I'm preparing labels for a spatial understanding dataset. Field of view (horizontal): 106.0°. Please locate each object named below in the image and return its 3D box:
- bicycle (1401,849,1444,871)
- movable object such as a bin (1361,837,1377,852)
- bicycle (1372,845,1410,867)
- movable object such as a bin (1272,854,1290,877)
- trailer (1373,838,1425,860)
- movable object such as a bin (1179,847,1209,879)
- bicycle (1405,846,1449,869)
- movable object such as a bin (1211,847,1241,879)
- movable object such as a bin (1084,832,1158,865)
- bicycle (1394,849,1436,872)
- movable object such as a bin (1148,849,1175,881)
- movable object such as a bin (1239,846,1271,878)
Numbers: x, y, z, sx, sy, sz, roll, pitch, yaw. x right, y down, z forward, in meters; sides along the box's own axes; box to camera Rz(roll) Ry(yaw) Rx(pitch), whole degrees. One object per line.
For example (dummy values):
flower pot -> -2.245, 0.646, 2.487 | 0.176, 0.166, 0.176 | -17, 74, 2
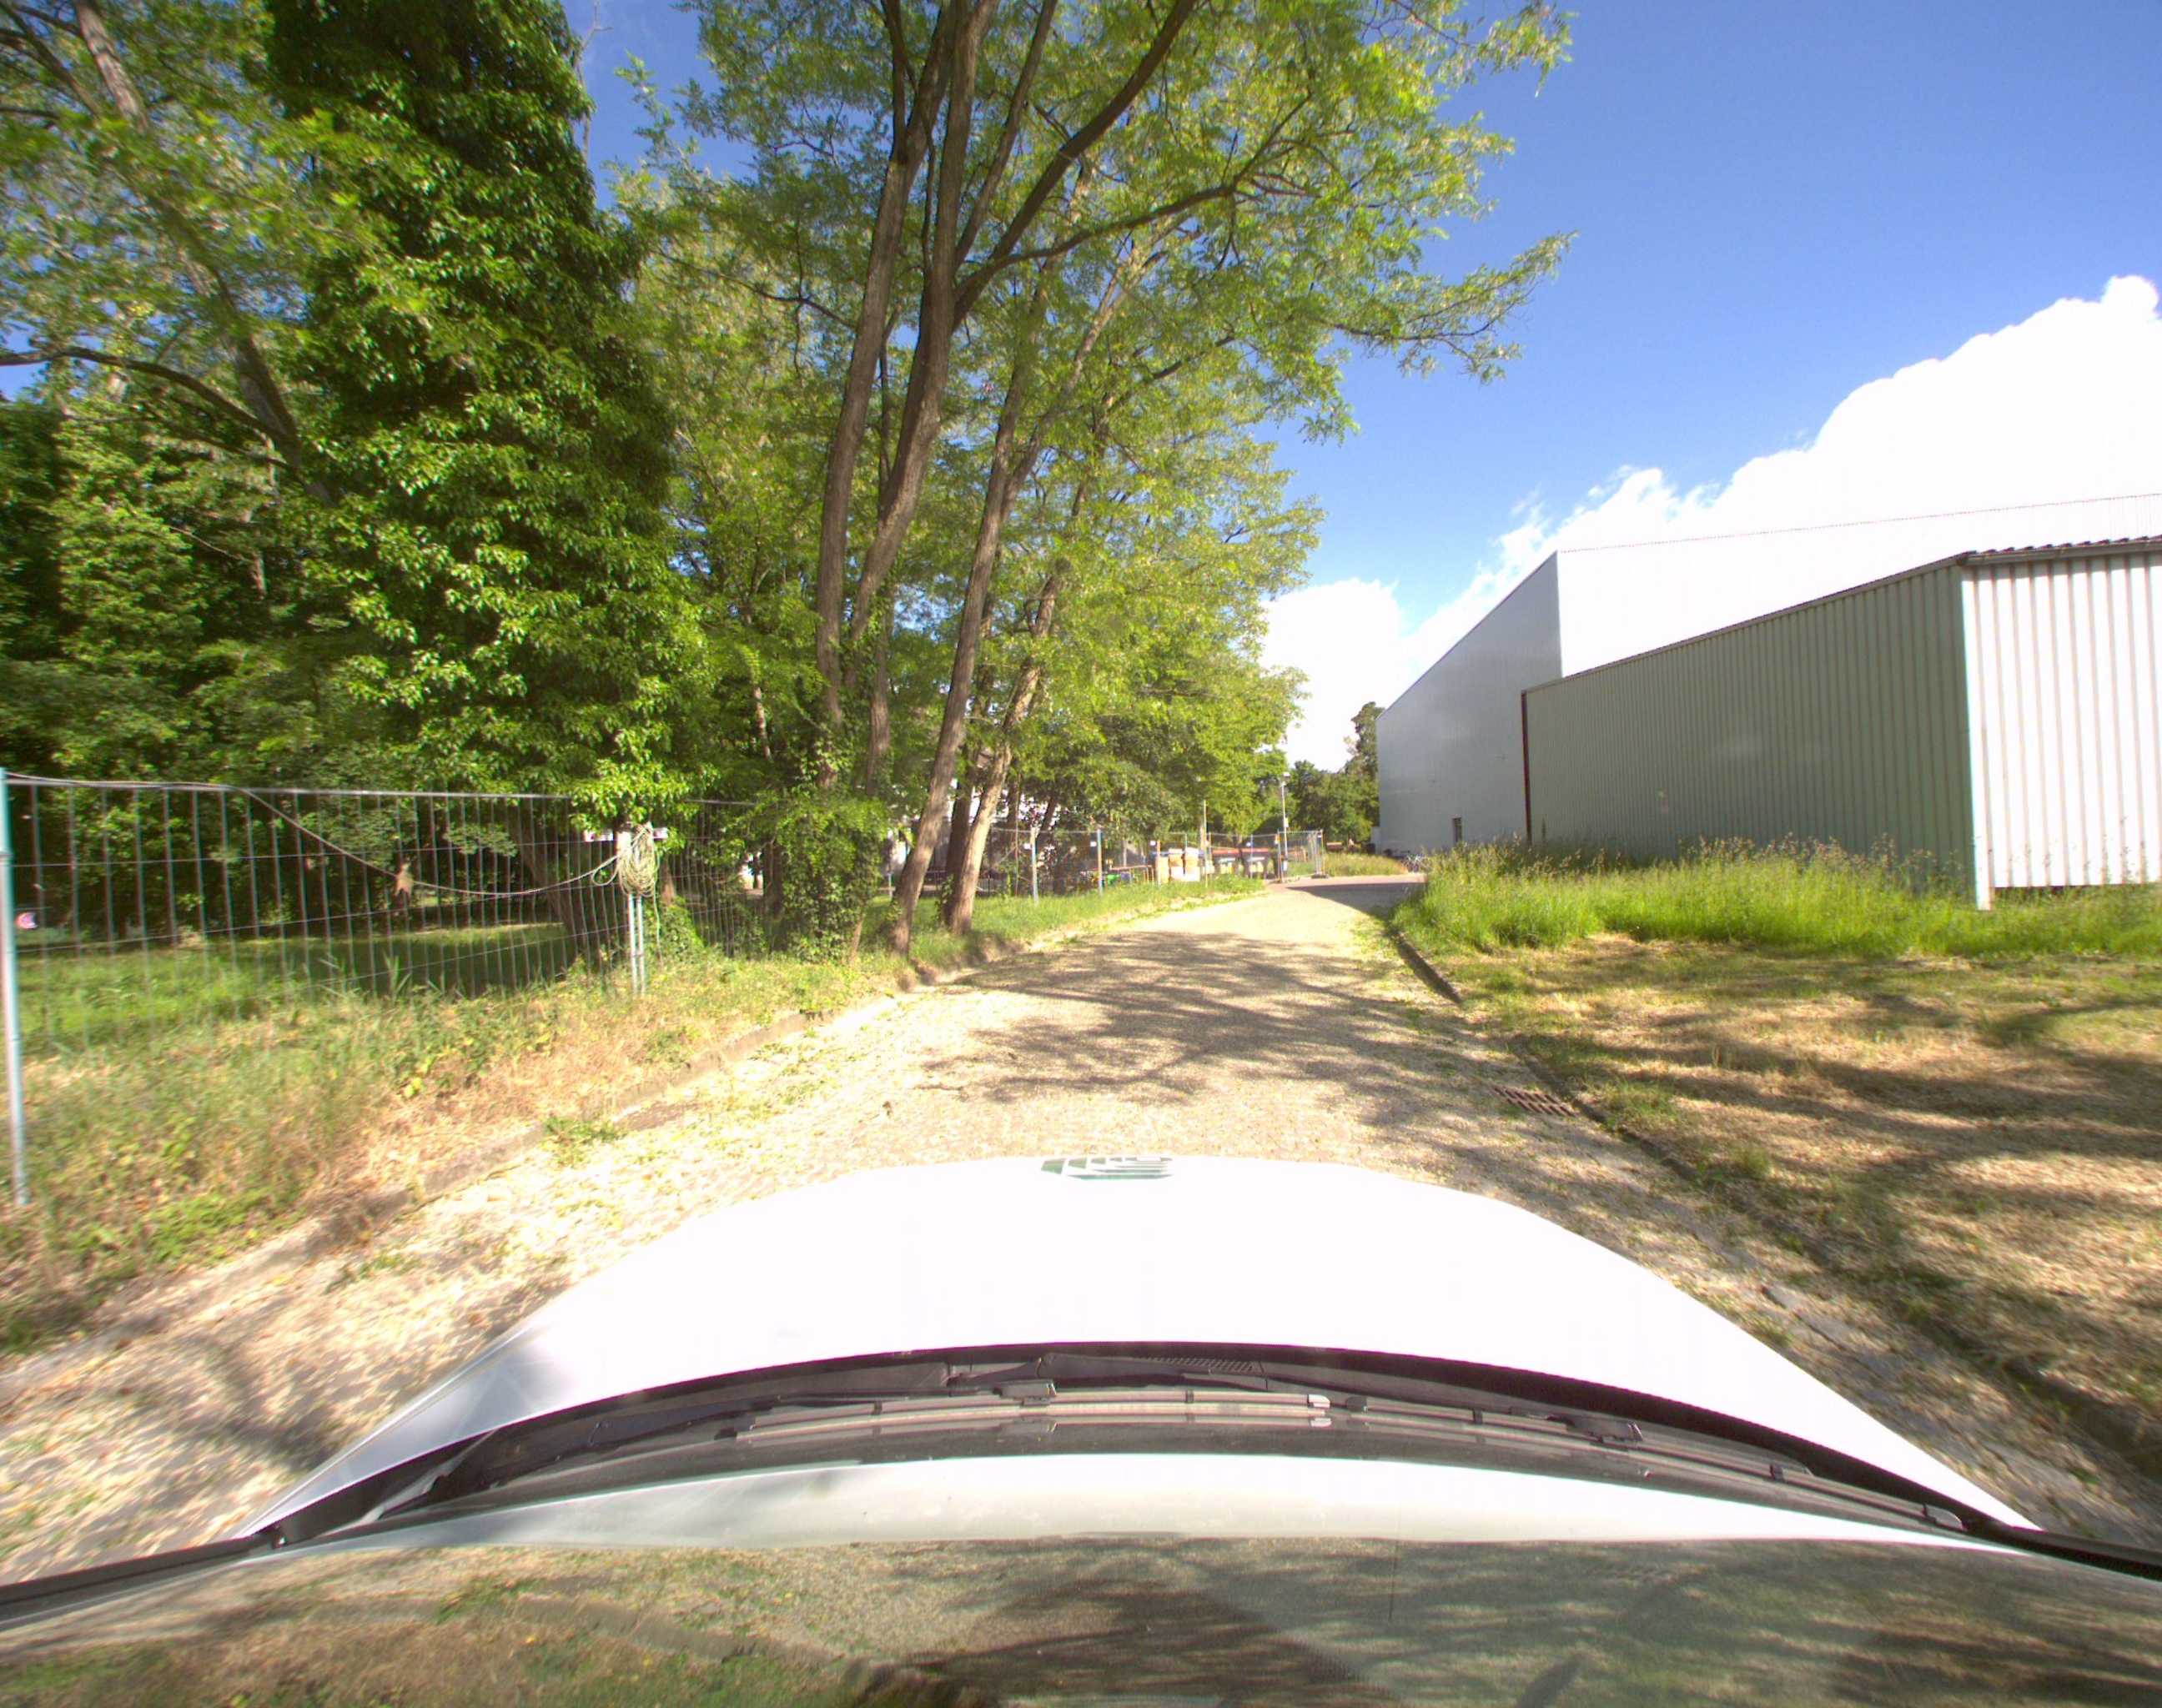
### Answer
bicycle -> 16.821, 0.289, 40.190 | 1.872, 0.978, 0.434 | -3, 0, 9
movable object such as a bin -> 33.432, -1.069, 94.650 | 1.354, 1.656, 2.852 | -3, 0, 13
bicycle -> 16.863, 0.120, 44.309 | 1.872, 1.126, 0.434 | -3, -1, 9
movable object such as a bin -> 9.207, 0.545, 37.504 | 0.635, 1.007, 0.608 | -3, -1, 26
trailer -> 19.278, -0.279, 49.403 | 2.694, 1.200, 1.249 | -3, 0, 9
movable object such as a bin -> 5.314, 0.421, 38.304 | 1.280, 1.426, 1.035 | -3, 0, 8
bicycle -> 16.522, 0.169, 38.933 | 1.872, 0.978, 0.434 | -3, 0, 9
movable object such as a bin -> 6.777, 0.424, 38.051 | 1.280, 1.426, 1.035 | -3, 0, 8
movable object such as a bin -> 2.784, -0.379, 55.867 | 4.844, 1.970, 1.937 | -3, 0, 8
bicycle -> 17.038, 0.317, 41.578 | 1.872, 1.082, 0.434 | -3, -1, 9
movable object such as a bin -> 3.802, 0.522, 38.464 | 1.076, 1.438, 1.059 | -3, 0, 12
movable object such as a bin -> 8.074, 0.359, 37.895 | 1.280, 1.426, 1.034 | -3, 0, 6
